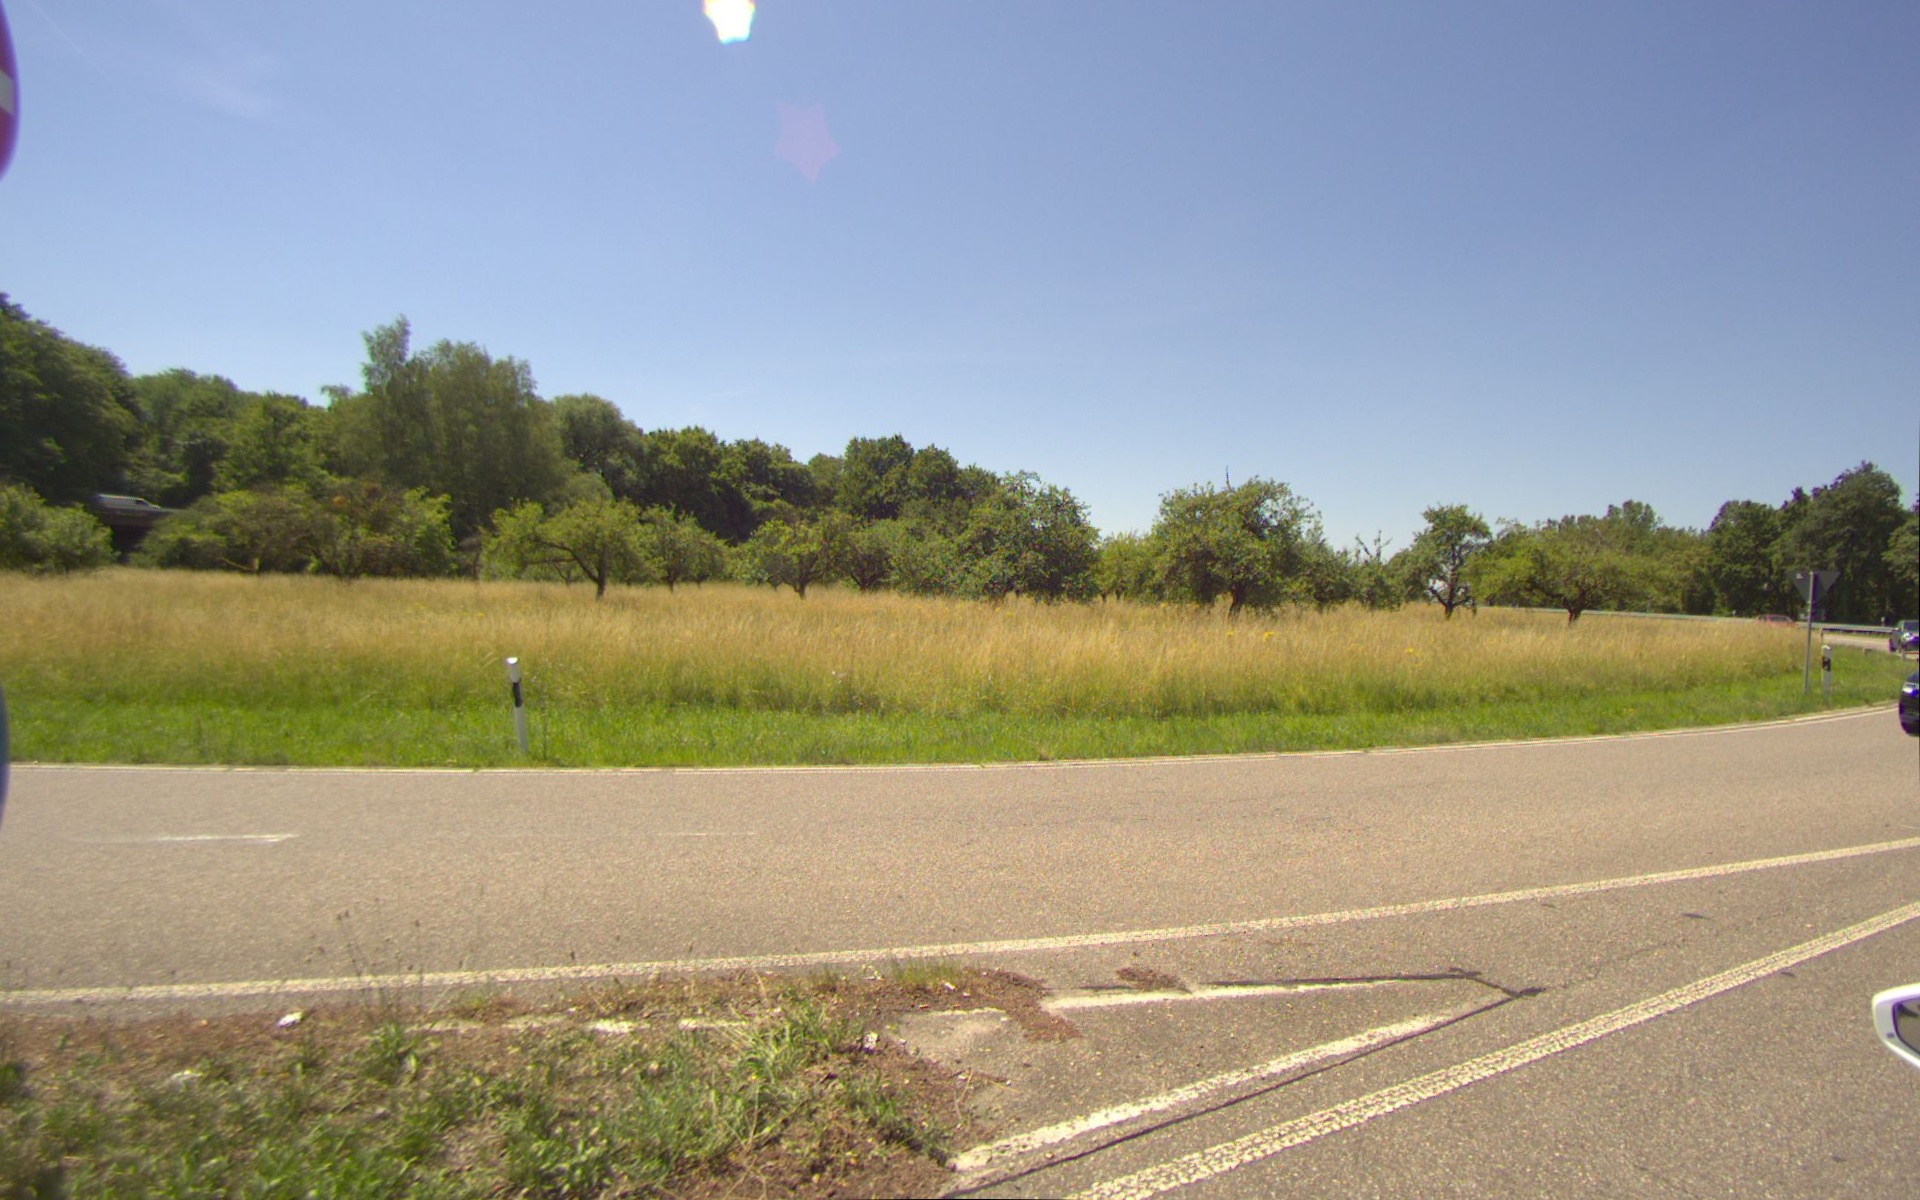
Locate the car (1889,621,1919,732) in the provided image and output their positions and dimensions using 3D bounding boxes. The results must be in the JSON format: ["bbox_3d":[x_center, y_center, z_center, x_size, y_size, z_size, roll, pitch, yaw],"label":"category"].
[{"bbox_3d":[15.519,1.113,14.753,4.610,1.526,1.791,2,-2,-34],"label":"car"}]

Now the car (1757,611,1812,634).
[{"bbox_3d":[57.330,1.615,69.885,1.793,1.477,4.398,-1,-3,24],"label":"car"}]

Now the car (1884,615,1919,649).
[{"bbox_3d":[45.065,1.500,47.504,1.714,1.527,4.054,2,0,39],"label":"car"}]

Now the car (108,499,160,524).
[{"bbox_3d":[-84.941,-9.075,103.362,3.969,2.040,1.976,5,0,-40],"label":"car"}]
